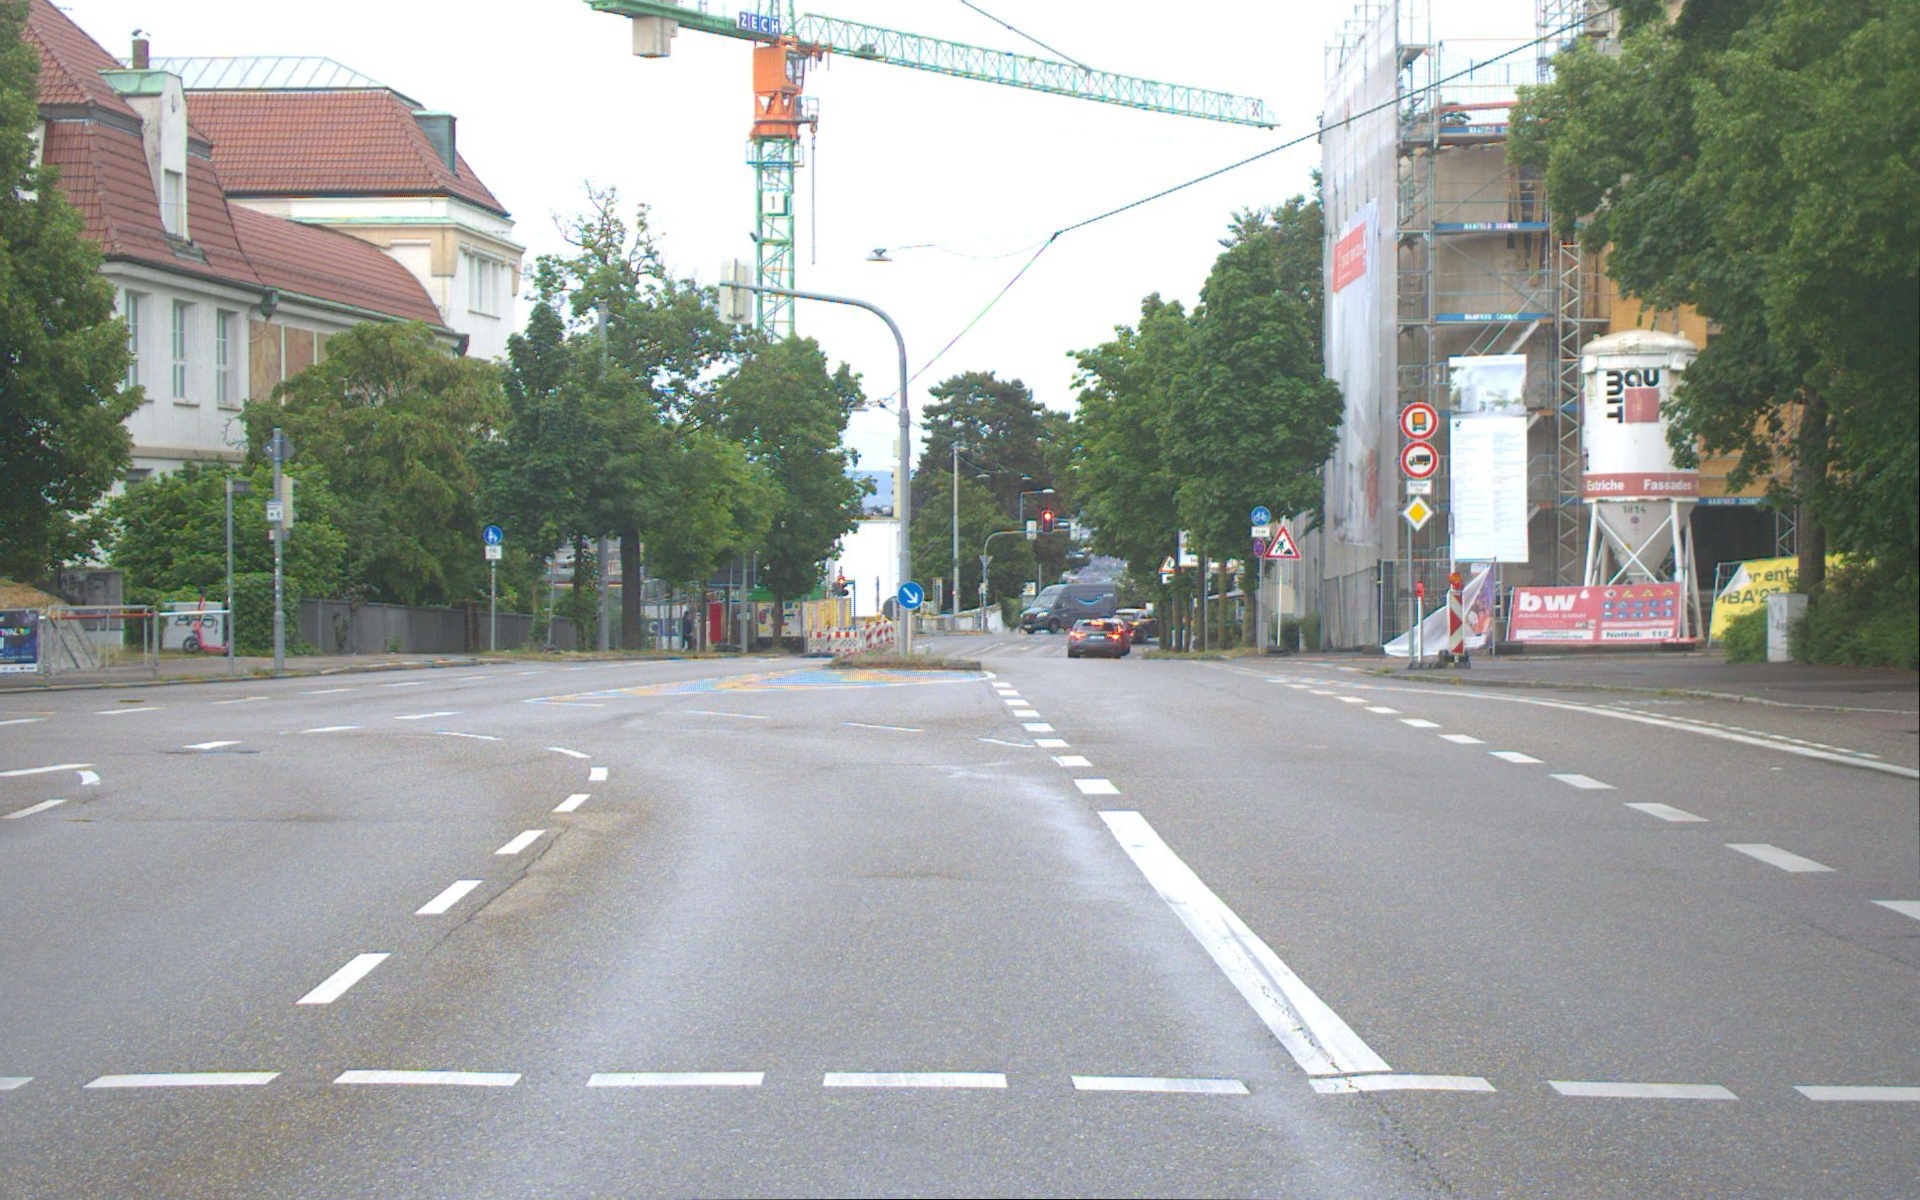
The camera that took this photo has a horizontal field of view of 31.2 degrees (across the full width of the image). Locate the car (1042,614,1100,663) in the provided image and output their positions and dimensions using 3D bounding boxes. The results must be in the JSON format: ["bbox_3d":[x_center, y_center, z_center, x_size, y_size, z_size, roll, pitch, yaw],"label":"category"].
[{"bbox_3d":[4.231,1.452,131.638,1.993,1.744,4.000,-1,1,-1],"label":"car"}]

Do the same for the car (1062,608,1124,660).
[{"bbox_3d":[4.808,1.224,125.016,1.993,1.744,4.000,-1,1,-1],"label":"car"}]

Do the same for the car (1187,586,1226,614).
[{"bbox_3d":[15.744,-0.006,219.323,1.994,1.744,3.998,-1,1,11],"label":"car"}]

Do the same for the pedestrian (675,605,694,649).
[{"bbox_3d":[-10.371,1.015,129.280,0.494,1.640,0.533,1,0,22],"label":"pedestrian"}]

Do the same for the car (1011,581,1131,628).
[{"bbox_3d":[5.884,0.256,181.358,6.171,2.394,2.856,0,1,-45],"label":"car"}]

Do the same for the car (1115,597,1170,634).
[{"bbox_3d":[8.910,0.746,167.491,1.994,1.744,3.998,-1,1,13],"label":"car"}]

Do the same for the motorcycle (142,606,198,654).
[{"bbox_3d":[-14.929,0.558,64.980,0.849,0.874,0.877,1,0,-1],"label":"motorcycle"}]
